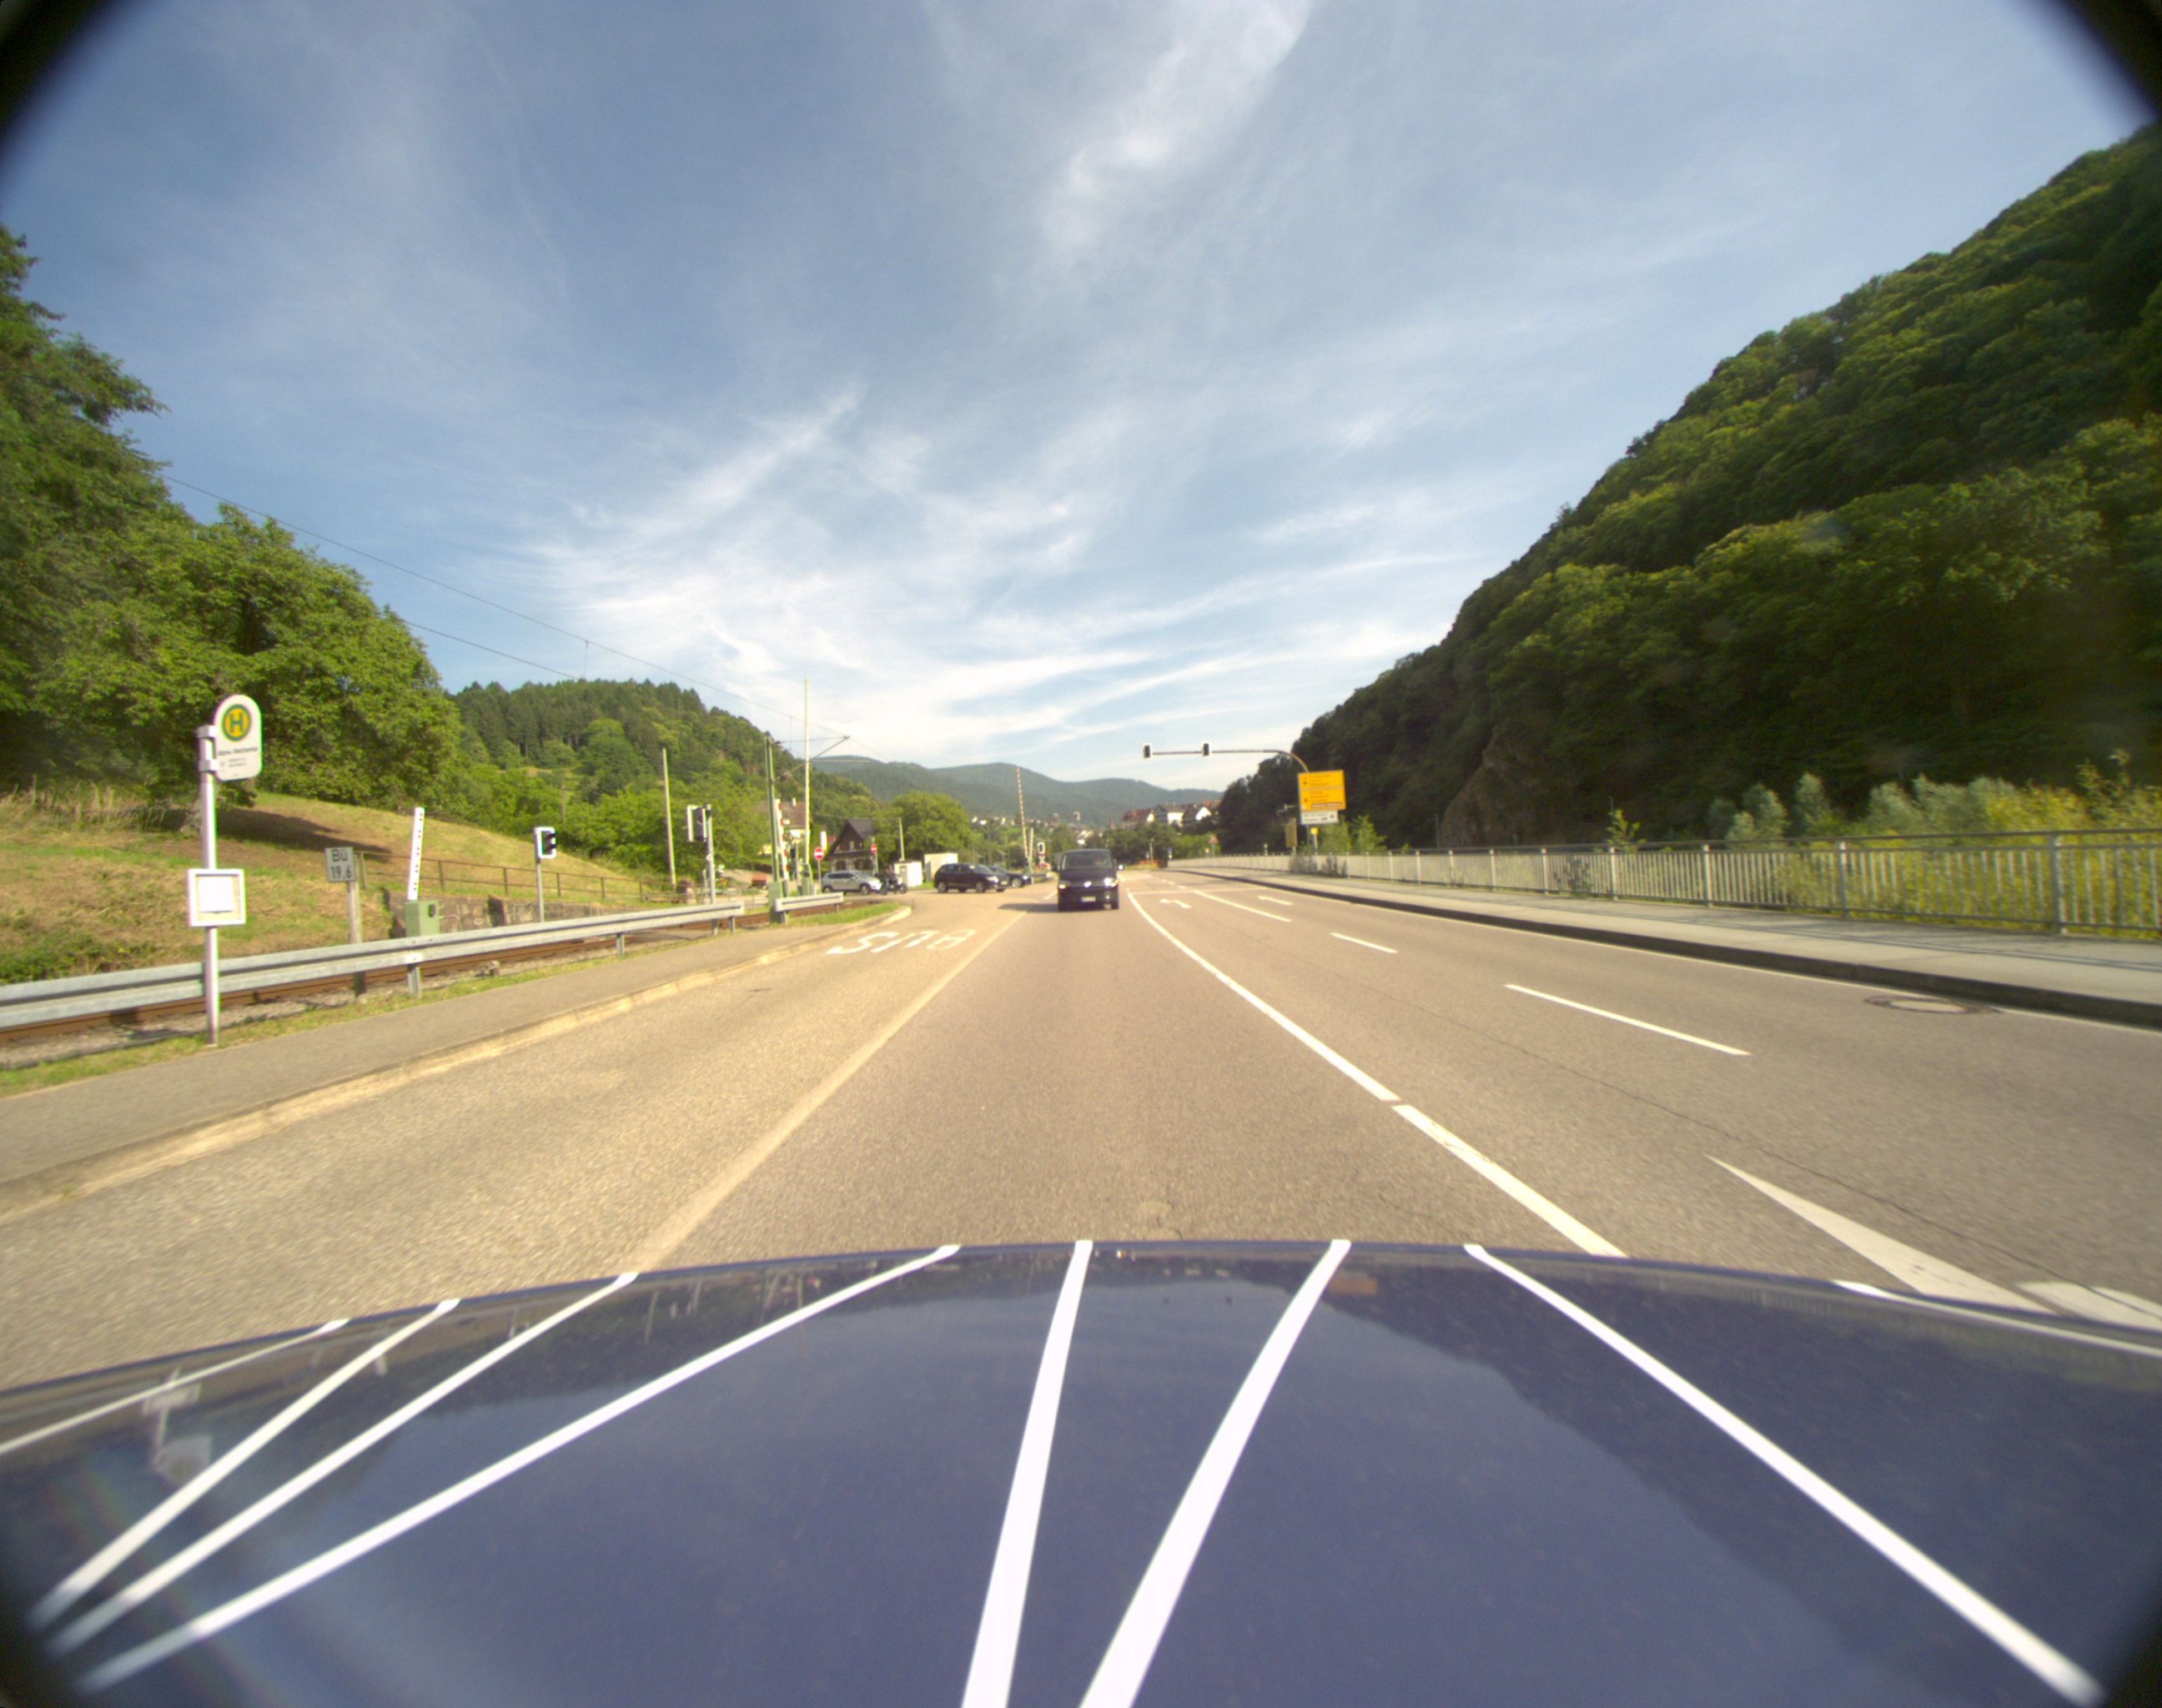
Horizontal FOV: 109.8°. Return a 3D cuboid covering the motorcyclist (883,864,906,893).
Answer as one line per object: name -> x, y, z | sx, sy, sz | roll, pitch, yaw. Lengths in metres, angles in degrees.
motorcyclist -> -10.711, 1.382, 43.608 | 0.907, 1.587, 0.766 | -4, 0, 18

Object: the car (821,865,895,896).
car -> -14.228, 1.684, 48.542 | 4.119, 1.676, 1.837 | -4, 0, 15

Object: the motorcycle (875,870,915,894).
motorcycle -> -10.673, 1.600, 43.594 | 2.095, 1.247, 0.800 | -4, 0, 19

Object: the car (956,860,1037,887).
car -> -5.230, 1.202, 47.463 | 4.737, 1.461, 1.842 | -2, 0, 4

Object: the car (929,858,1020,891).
car -> -5.800, 1.125, 41.291 | 4.729, 1.650, 1.934 | -2, 0, 33

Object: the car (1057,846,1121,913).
car -> 0.301, 0.786, 25.086 | 1.865, 1.936, 4.639 | -2, -1, 2
